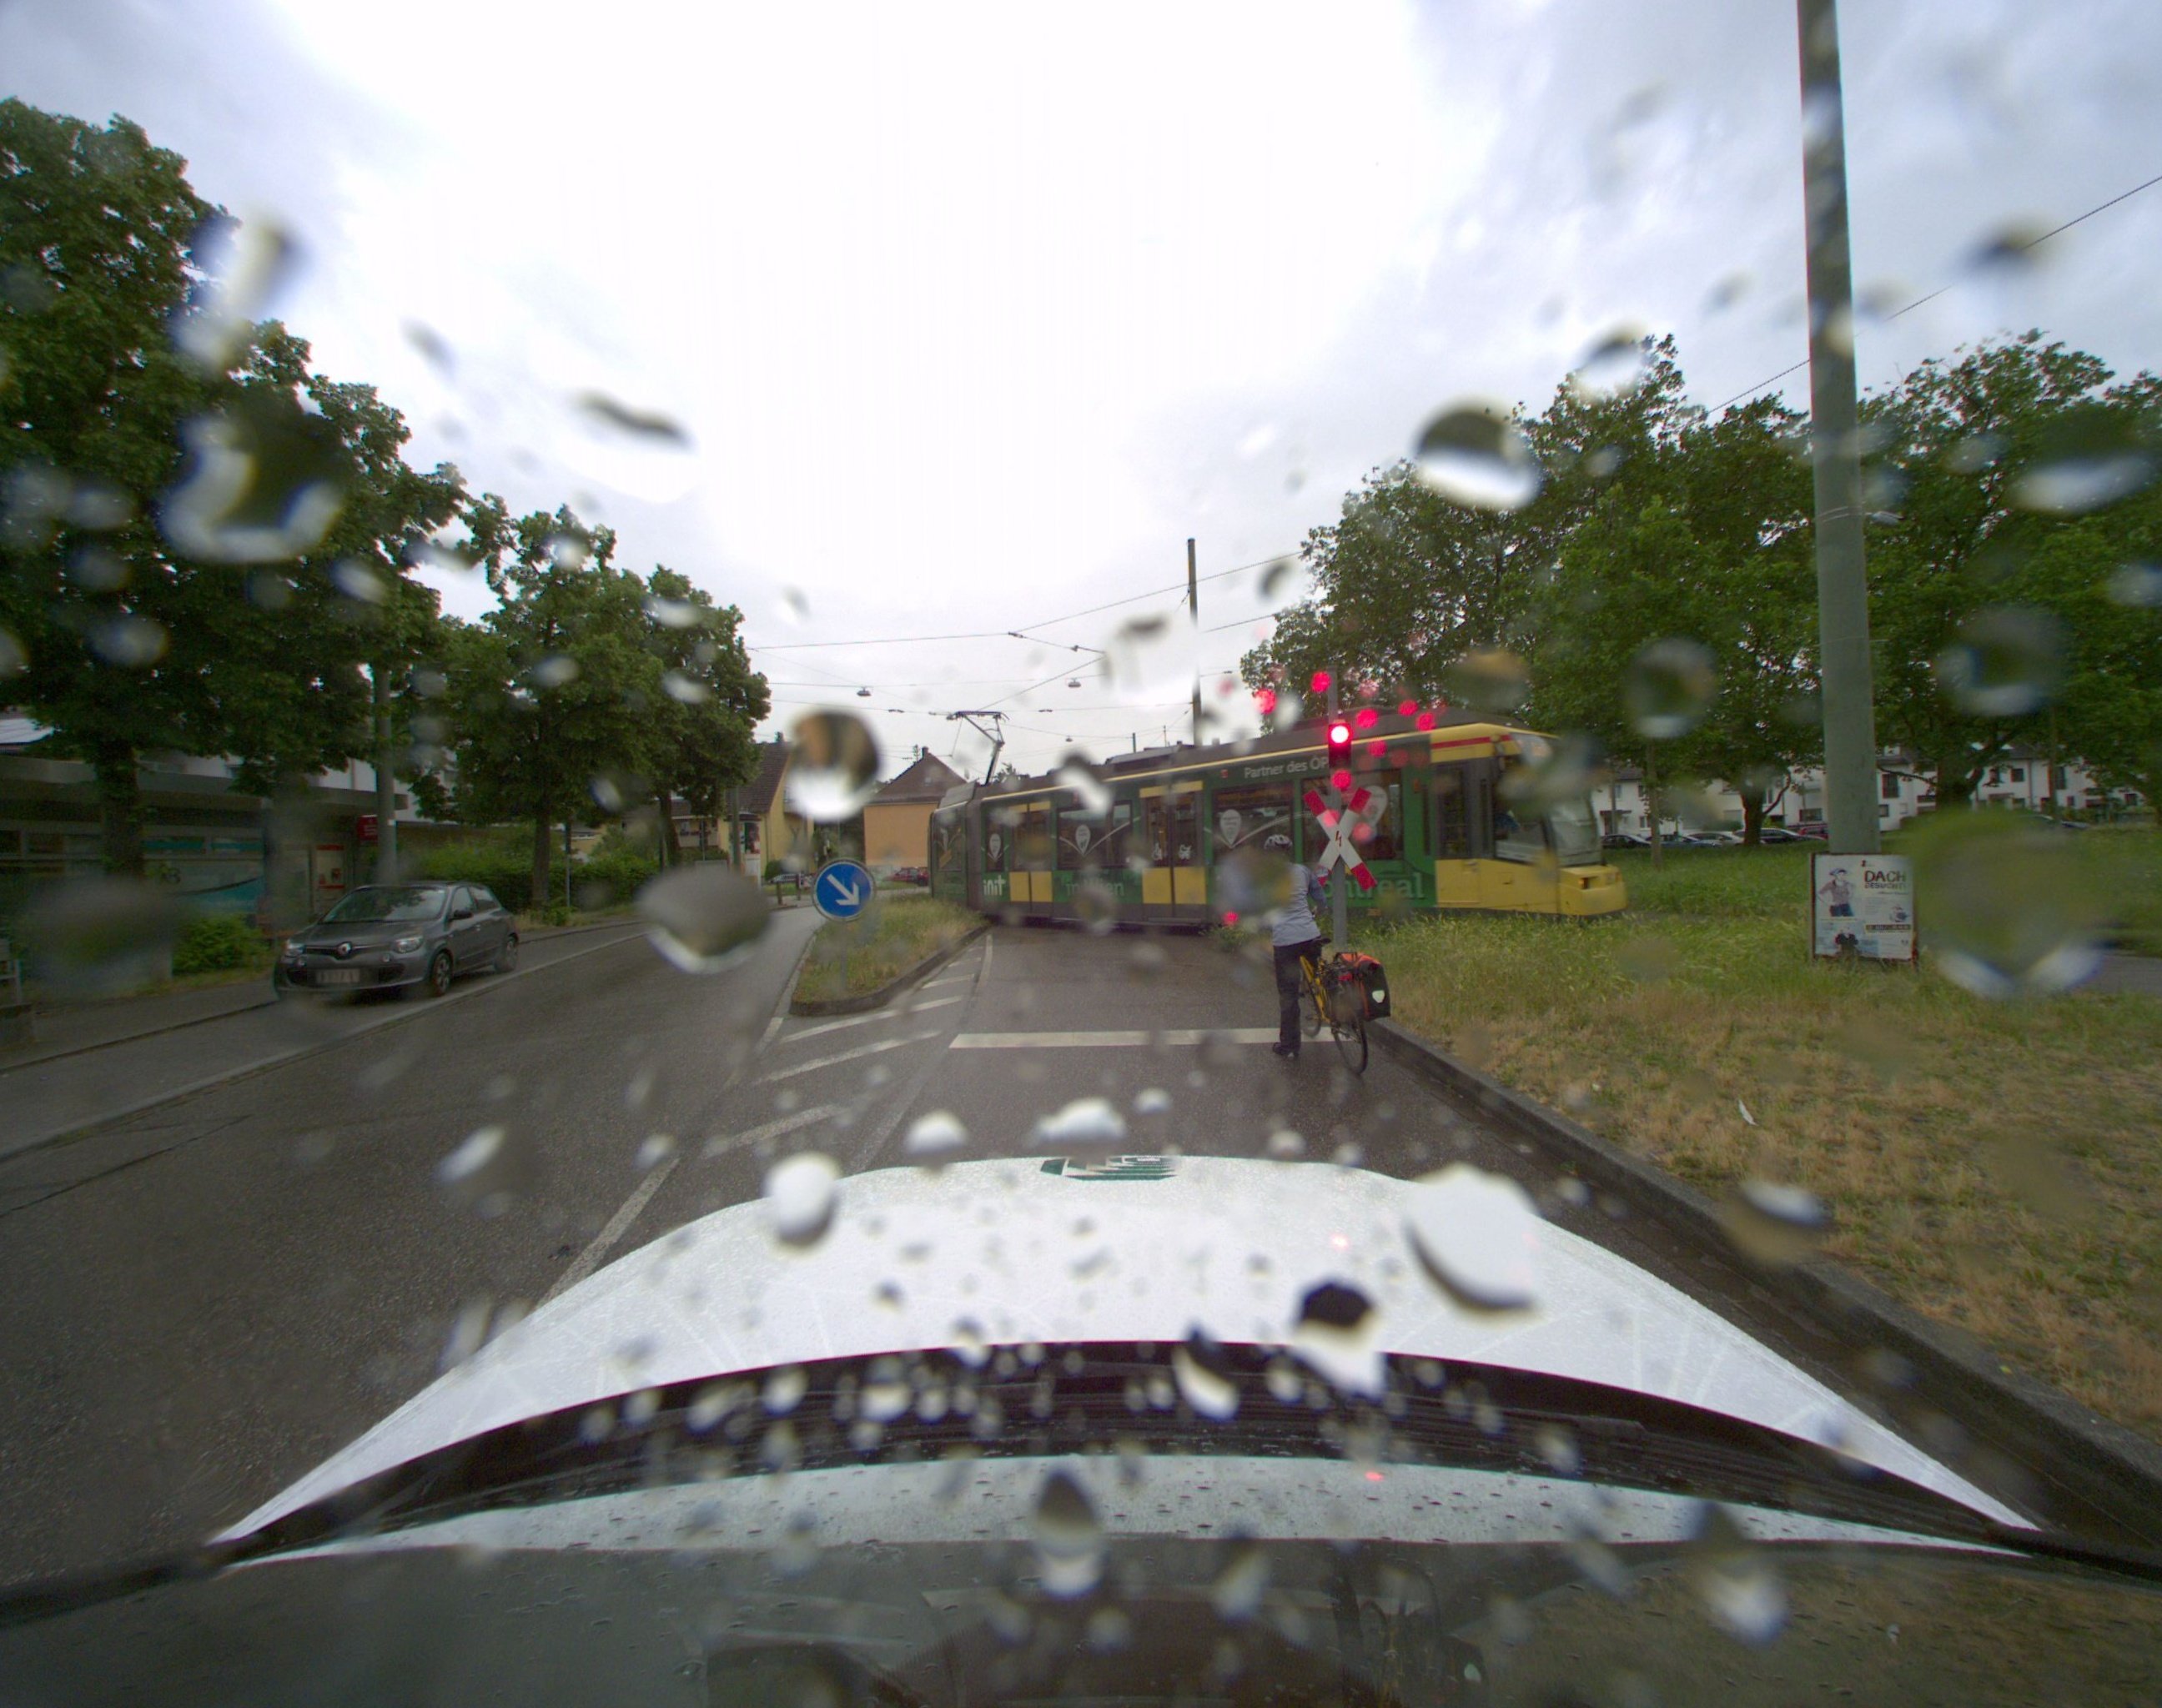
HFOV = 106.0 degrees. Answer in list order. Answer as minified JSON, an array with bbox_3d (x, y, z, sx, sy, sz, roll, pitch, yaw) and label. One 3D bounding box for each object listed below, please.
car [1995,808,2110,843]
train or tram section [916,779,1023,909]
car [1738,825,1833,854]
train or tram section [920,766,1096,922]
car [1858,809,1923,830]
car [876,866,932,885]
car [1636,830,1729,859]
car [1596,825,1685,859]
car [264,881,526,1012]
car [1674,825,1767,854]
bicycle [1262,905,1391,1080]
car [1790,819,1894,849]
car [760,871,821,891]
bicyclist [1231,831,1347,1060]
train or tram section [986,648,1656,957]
[{"bbox_3d":[54.634,-1.578,45.861,1.815,1.765,3.879,0,-1,-29],"label":"car"},{"bbox_3d":[-4.411,-0.222,29.227,2.763,3.553,13.077,-2,0,-12],"label":"train or tram section"},{"bbox_3d":[39.264,-0.785,45.412,1.821,1.495,3.867,0,-1,-44],"label":"car"},{"bbox_3d":[-2.085,-0.215,21.357,2.777,3.553,4.942,-2,0,-28],"label":"train or tram section"},{"bbox_3d":[70.001,-3.000,70.452,3.670,1.660,1.891,0,-1,2],"label":"car"},{"bbox_3d":[-13.660,1.643,63.084,3.979,1.456,1.831,0,-1,-5],"label":"car"},{"bbox_3d":[33.202,-0.501,44.995,1.821,1.495,3.867,0,-1,-44],"label":"car"},{"bbox_3d":[30.540,-0.617,44.538,1.821,1.798,3.721,0,-1,-44],"label":"car"},{"bbox_3d":[-9.694,1.191,11.889,1.621,1.496,3.645,0,-1,-18],"label":"car"},{"bbox_3d":[35.705,-0.758,45.525,1.821,1.495,3.867,0,-1,-44],"label":"car"},{"bbox_3d":[1.787,0.951,6.148,0.444,1.004,1.728,-2,0,1],"label":"bicycle"},{"bbox_3d":[42.627,-1.092,45.685,1.814,1.495,3.881,0,-1,-27],"label":"car"},{"bbox_3d":[-22.105,2.021,62.040,3.979,1.456,1.831,0,-1,-5],"label":"car"},{"bbox_3d":[1.564,0.655,6.245,0.665,1.626,0.853,0,-1,1],"label":"bicyclist"},{"bbox_3d":[2.847,-0.443,14.861,2.784,3.553,12.059,-2,-1,-40],"label":"train or tram section"}]
